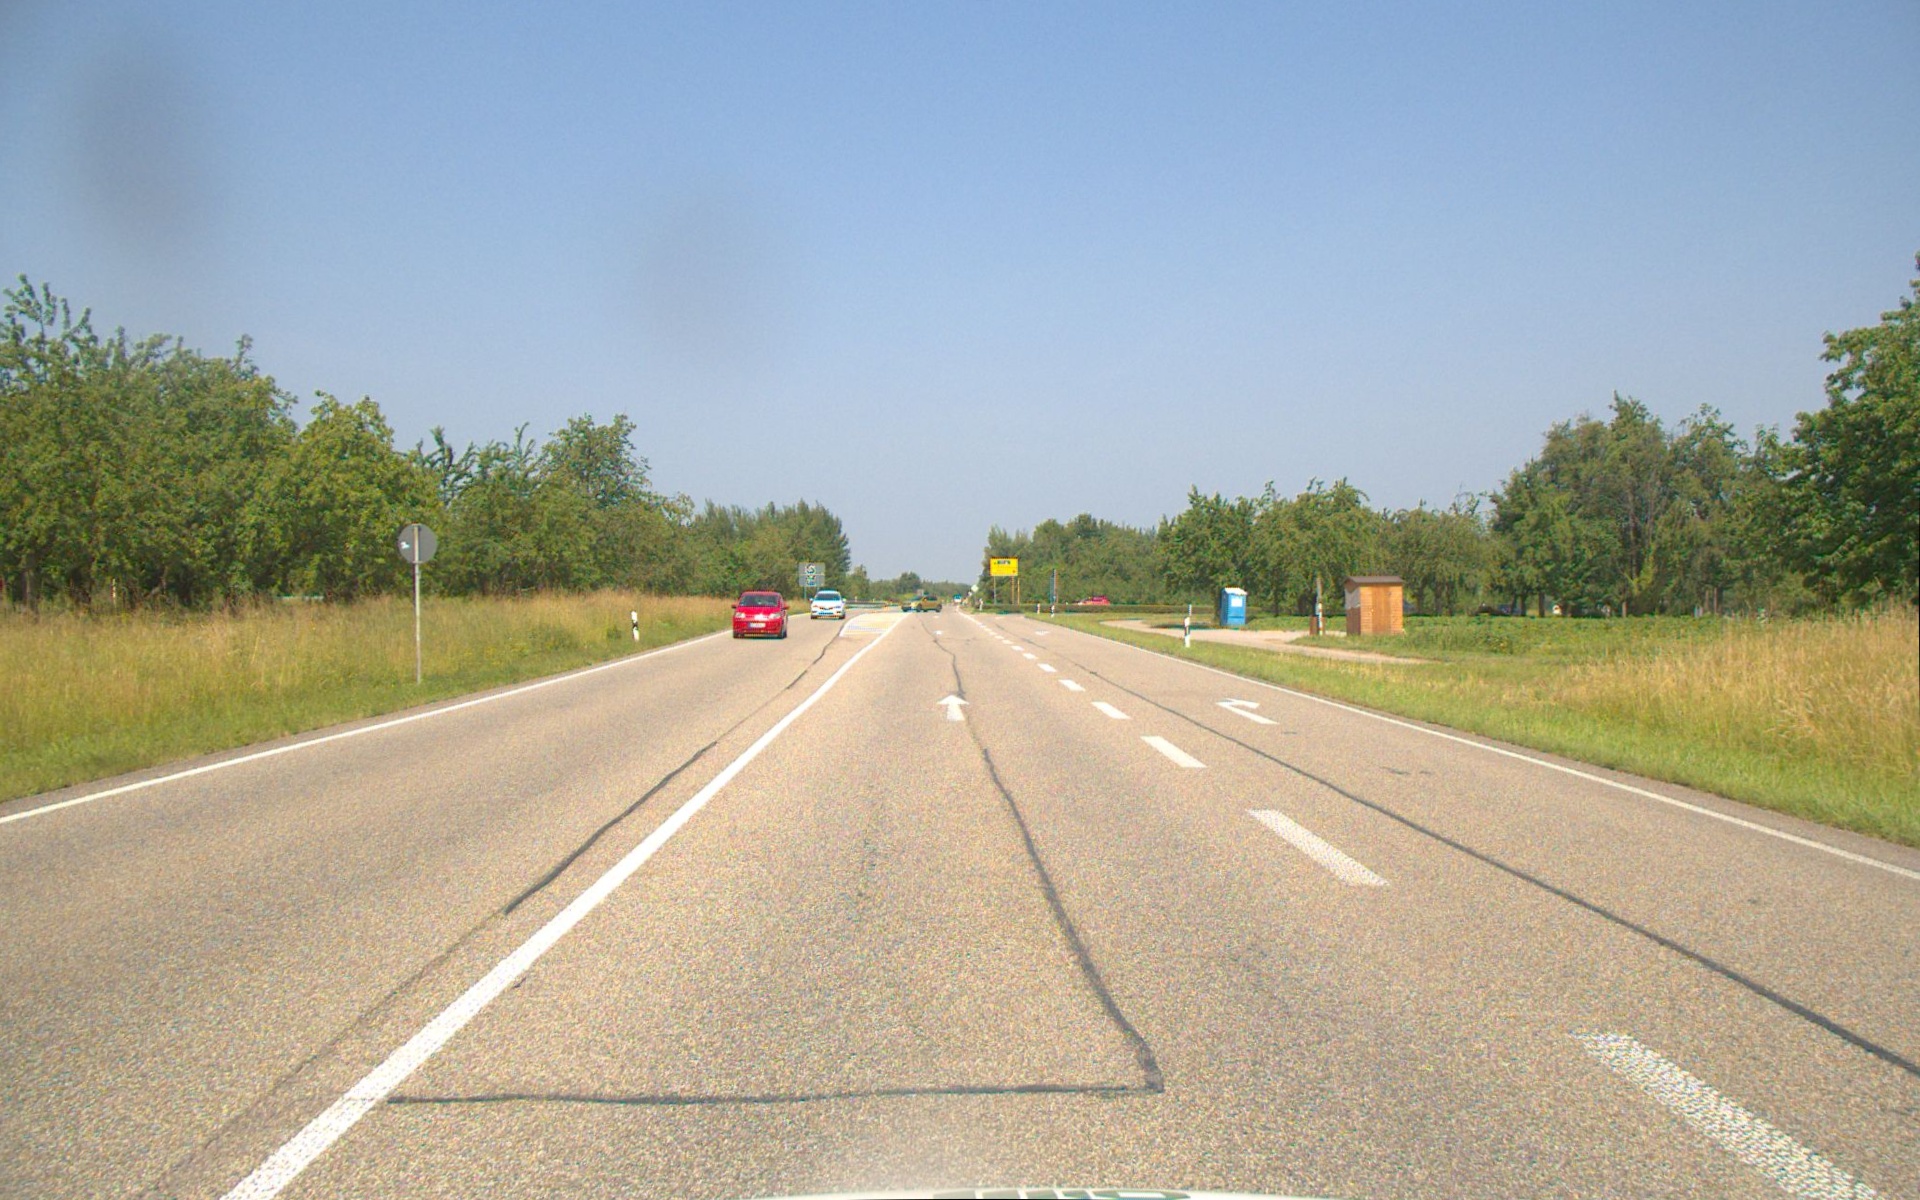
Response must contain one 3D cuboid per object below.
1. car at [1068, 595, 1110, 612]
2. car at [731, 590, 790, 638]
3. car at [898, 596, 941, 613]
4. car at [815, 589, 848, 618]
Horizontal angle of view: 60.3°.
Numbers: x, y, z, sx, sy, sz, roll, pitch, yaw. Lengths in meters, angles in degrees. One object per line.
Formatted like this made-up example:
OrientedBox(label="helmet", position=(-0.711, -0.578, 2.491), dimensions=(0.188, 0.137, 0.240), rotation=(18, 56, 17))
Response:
OrientedBox(label="car", position=(11.726, 0.303, 150.721), dimensions=(3.665, 1.519, 1.671), rotation=(1, 0, -3))
OrientedBox(label="car", position=(-6.469, 0.442, 53.833), dimensions=(1.593, 1.482, 3.619), rotation=(1, 0, -2))
OrientedBox(label="car", position=(-3.538, 0.369, 143.771), dimensions=(1.672, 1.441, 3.804), rotation=(0, 0, 41))
OrientedBox(label="car", position=(-6.960, 0.160, 89.890), dimensions=(1.641, 1.520, 4.134), rotation=(1, 0, -3))
